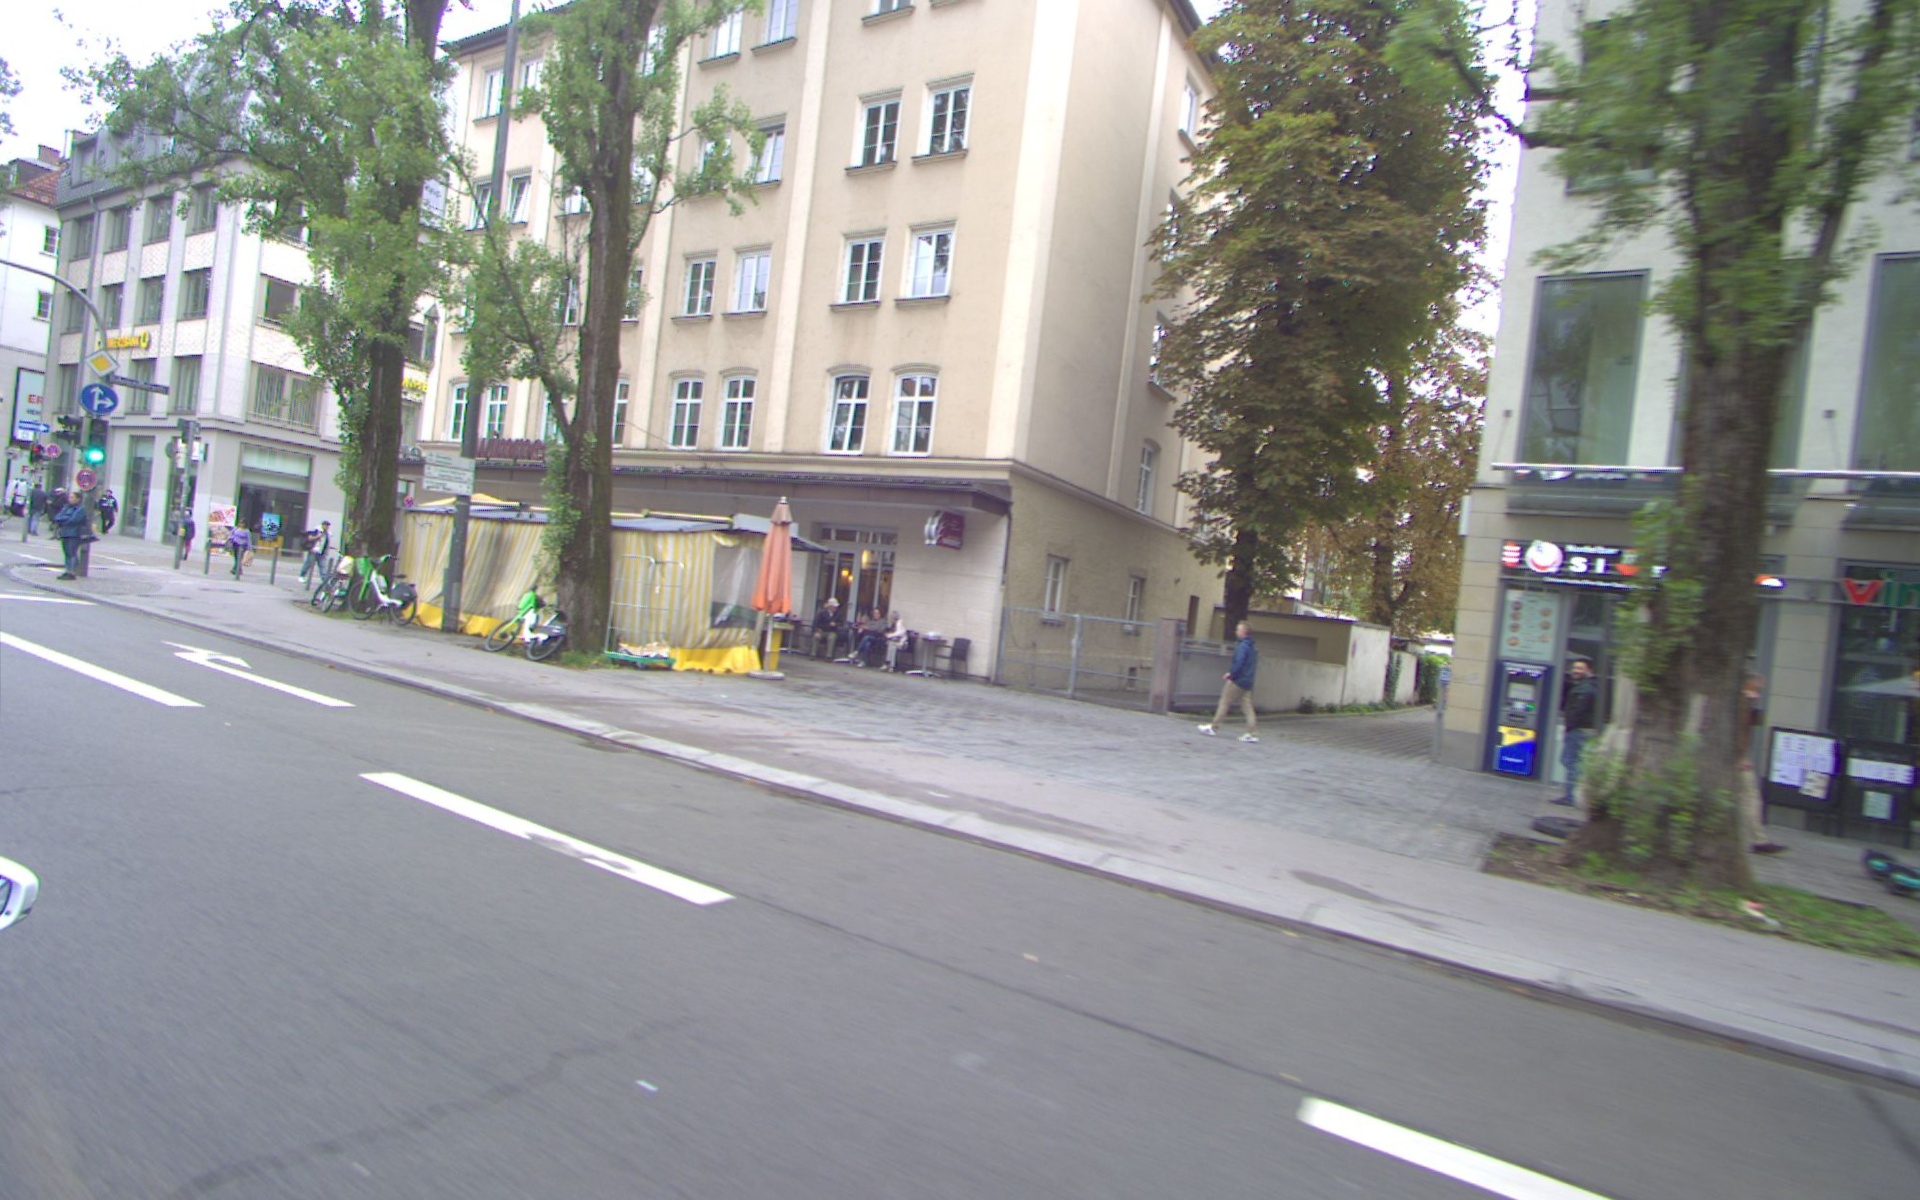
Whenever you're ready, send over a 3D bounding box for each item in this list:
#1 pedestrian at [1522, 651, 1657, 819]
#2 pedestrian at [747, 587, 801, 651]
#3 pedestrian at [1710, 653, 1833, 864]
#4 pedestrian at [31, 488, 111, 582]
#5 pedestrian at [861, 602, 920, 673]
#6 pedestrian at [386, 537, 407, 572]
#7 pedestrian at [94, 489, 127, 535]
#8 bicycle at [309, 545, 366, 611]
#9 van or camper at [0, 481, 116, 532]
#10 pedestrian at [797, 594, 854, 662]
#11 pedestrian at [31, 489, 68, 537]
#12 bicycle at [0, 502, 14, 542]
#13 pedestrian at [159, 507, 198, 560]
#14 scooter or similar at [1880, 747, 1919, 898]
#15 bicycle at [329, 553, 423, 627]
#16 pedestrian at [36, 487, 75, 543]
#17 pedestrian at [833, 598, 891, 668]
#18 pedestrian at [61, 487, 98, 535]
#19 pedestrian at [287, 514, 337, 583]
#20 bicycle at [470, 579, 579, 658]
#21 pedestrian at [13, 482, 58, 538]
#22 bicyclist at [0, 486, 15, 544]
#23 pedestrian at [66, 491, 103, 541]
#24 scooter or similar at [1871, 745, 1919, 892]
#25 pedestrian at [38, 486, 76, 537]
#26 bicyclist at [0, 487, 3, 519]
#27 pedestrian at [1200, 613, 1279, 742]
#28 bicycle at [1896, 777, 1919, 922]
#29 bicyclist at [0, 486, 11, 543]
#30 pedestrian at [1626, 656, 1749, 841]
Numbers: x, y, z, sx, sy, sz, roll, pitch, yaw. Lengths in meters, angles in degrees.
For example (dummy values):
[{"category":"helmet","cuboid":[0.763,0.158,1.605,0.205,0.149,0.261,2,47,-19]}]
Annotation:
[{"category":"pedestrian","cuboid":[7.615,1.596,12.227,0.962,1.837,0.813,7,1,10]},{"category":"pedestrian","cuboid":[-4.016,0.416,21.748,0.688,1.280,0.776,7,0,32]},{"category":"pedestrian","cuboid":[8.304,1.594,10.333,0.710,1.996,0.656,8,2,35]},{"category":"pedestrian","cuboid":[-16.739,-1.213,18.944,0.849,1.630,0.767,7,1,28]},{"category":"pedestrian","cuboid":[-1.351,0.742,19.670,0.688,1.280,0.776,7,0,32]},{"category":"pedestrian","cuboid":[-24.199,-1.943,43.206,0.574,1.423,0.444,7,1,29]},{"category":"pedestrian","cuboid":[-35.221,-3.644,41.712,0.699,1.779,0.750,7,0,33]},{"category":"bicycle","cuboid":[-11.544,-0.422,18.640,0.404,1.081,1.790,13,-5,-42]},{"category":"van or camper","cuboid":[-47.220,-4.874,52.695,1.868,1.888,4.108,6,-2,35]},{"category":"pedestrian","cuboid":[-2.737,0.568,20.522,0.688,1.280,0.776,7,0,32]},{"category":"pedestrian","cuboid":[-35.434,-3.390,39.162,0.947,1.698,0.750,7,1,33]},{"category":"bicycle","cuboid":[-28.341,-2.337,29.208,2.226,1.100,0.627,7,1,31]},{"category":"pedestrian","cuboid":[-25.532,-2.172,32.864,0.722,1.657,0.750,5,1,34]},{"category":"scooter or similar","cuboid":[8.829,2.021,8.785,1.019,1.289,0.247,7,1,32]},{"category":"bicycle","cuboid":[-9.977,-0.183,17.167,1.740,1.061,0.509,7,1,30]},{"category":"pedestrian","cuboid":[-31.008,-2.906,34.502,0.740,1.780,0.709,7,1,33]},{"category":"pedestrian","cuboid":[-1.938,0.654,20.002,0.688,1.280,0.776,7,0,32]},{"category":"pedestrian","cuboid":[-34.832,-3.514,39.816,0.947,1.739,0.750,7,1,33]},{"category":"pedestrian","cuboid":[-17.314,-1.361,26.898,0.847,1.723,0.664,5,0,-17]},{"category":"bicycle","cuboid":[-6.606,0.274,15.235,1.740,0.987,0.509,7,1,30]},{"category":"pedestrian","cuboid":[-32.831,-3.200,35.737,0.875,1.840,0.819,7,0,30]},{"category":"bicyclist","cuboid":[-27.542,-2.450,28.724,0.385,1.608,0.622,7,1,31]},{"category":"pedestrian","cuboid":[-33.181,-3.183,38.127,0.845,1.779,0.750,5,0,33]},{"category":"scooter or similar","cuboid":[9.073,2.050,9.135,1.019,1.289,0.330,7,1,32]},{"category":"pedestrian","cuboid":[-33.632,-3.295,37.466,0.845,1.779,0.750,5,0,33]},{"category":"bicyclist","cuboid":[-28.497,-2.557,29.308,0.740,1.608,0.622,7,1,31]},{"category":"pedestrian","cuboid":[4.240,1.172,15.262,0.744,1.837,0.743,7,1,35]},{"category":"bicycle","cuboid":[7.496,1.949,7.117,0.280,1.096,2.006,7,0,15]},{"category":"bicyclist","cuboid":[-27.860,-2.486,28.925,0.473,1.608,0.622,7,1,31]},{"category":"pedestrian","cuboid":[8.128,1.631,11.282,0.891,1.874,0.657,7,1,34]}]
